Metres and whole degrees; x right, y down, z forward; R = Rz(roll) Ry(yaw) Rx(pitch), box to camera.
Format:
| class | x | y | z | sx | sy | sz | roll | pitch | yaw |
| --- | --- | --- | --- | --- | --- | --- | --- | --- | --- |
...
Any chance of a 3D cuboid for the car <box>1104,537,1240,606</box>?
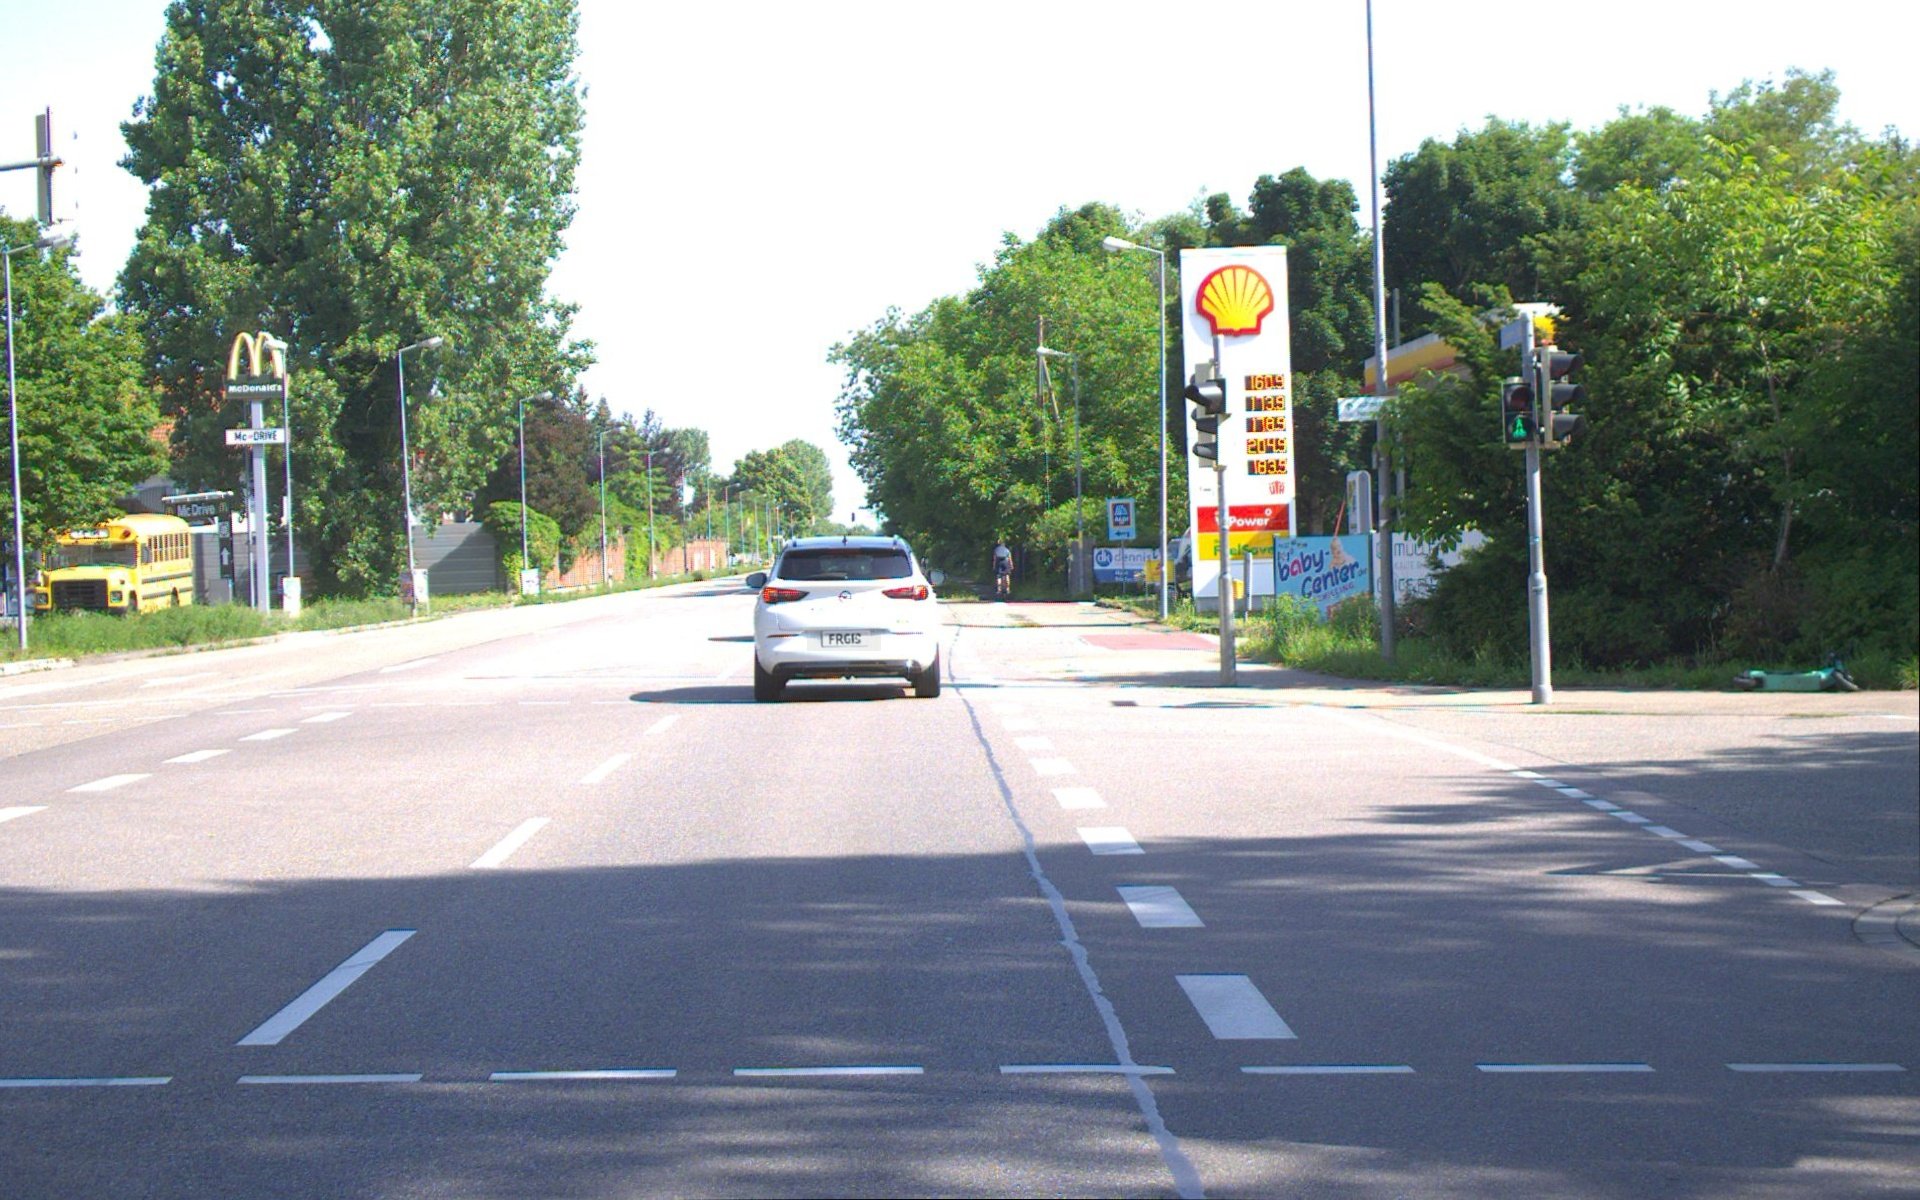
| class | x | y | z | sx | sy | sz | roll | pitch | yaw |
| --- | --- | --- | --- | --- | --- | --- | --- | --- | --- |
| car | 4.860 | -0.648 | 78.807 | 2.729 | 1.525 | 1.574 | -1 | -1 | 43 |

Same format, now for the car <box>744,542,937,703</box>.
| class | x | y | z | sx | sy | sz | roll | pitch | yaw |
| --- | --- | --- | --- | --- | --- | --- | --- | --- | --- |
| car | -1.177 | 0.195 | 34.927 | 1.847 | 1.536 | 4.225 | 0 | 0 | -1 |

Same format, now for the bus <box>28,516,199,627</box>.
| class | x | y | z | sx | sy | sz | roll | pitch | yaw |
| --- | --- | --- | --- | --- | --- | --- | --- | --- | --- |
| bus | -21.358 | -0.713 | 87.217 | 2.579 | 2.670 | 8.998 | 0 | 0 | -3 |
